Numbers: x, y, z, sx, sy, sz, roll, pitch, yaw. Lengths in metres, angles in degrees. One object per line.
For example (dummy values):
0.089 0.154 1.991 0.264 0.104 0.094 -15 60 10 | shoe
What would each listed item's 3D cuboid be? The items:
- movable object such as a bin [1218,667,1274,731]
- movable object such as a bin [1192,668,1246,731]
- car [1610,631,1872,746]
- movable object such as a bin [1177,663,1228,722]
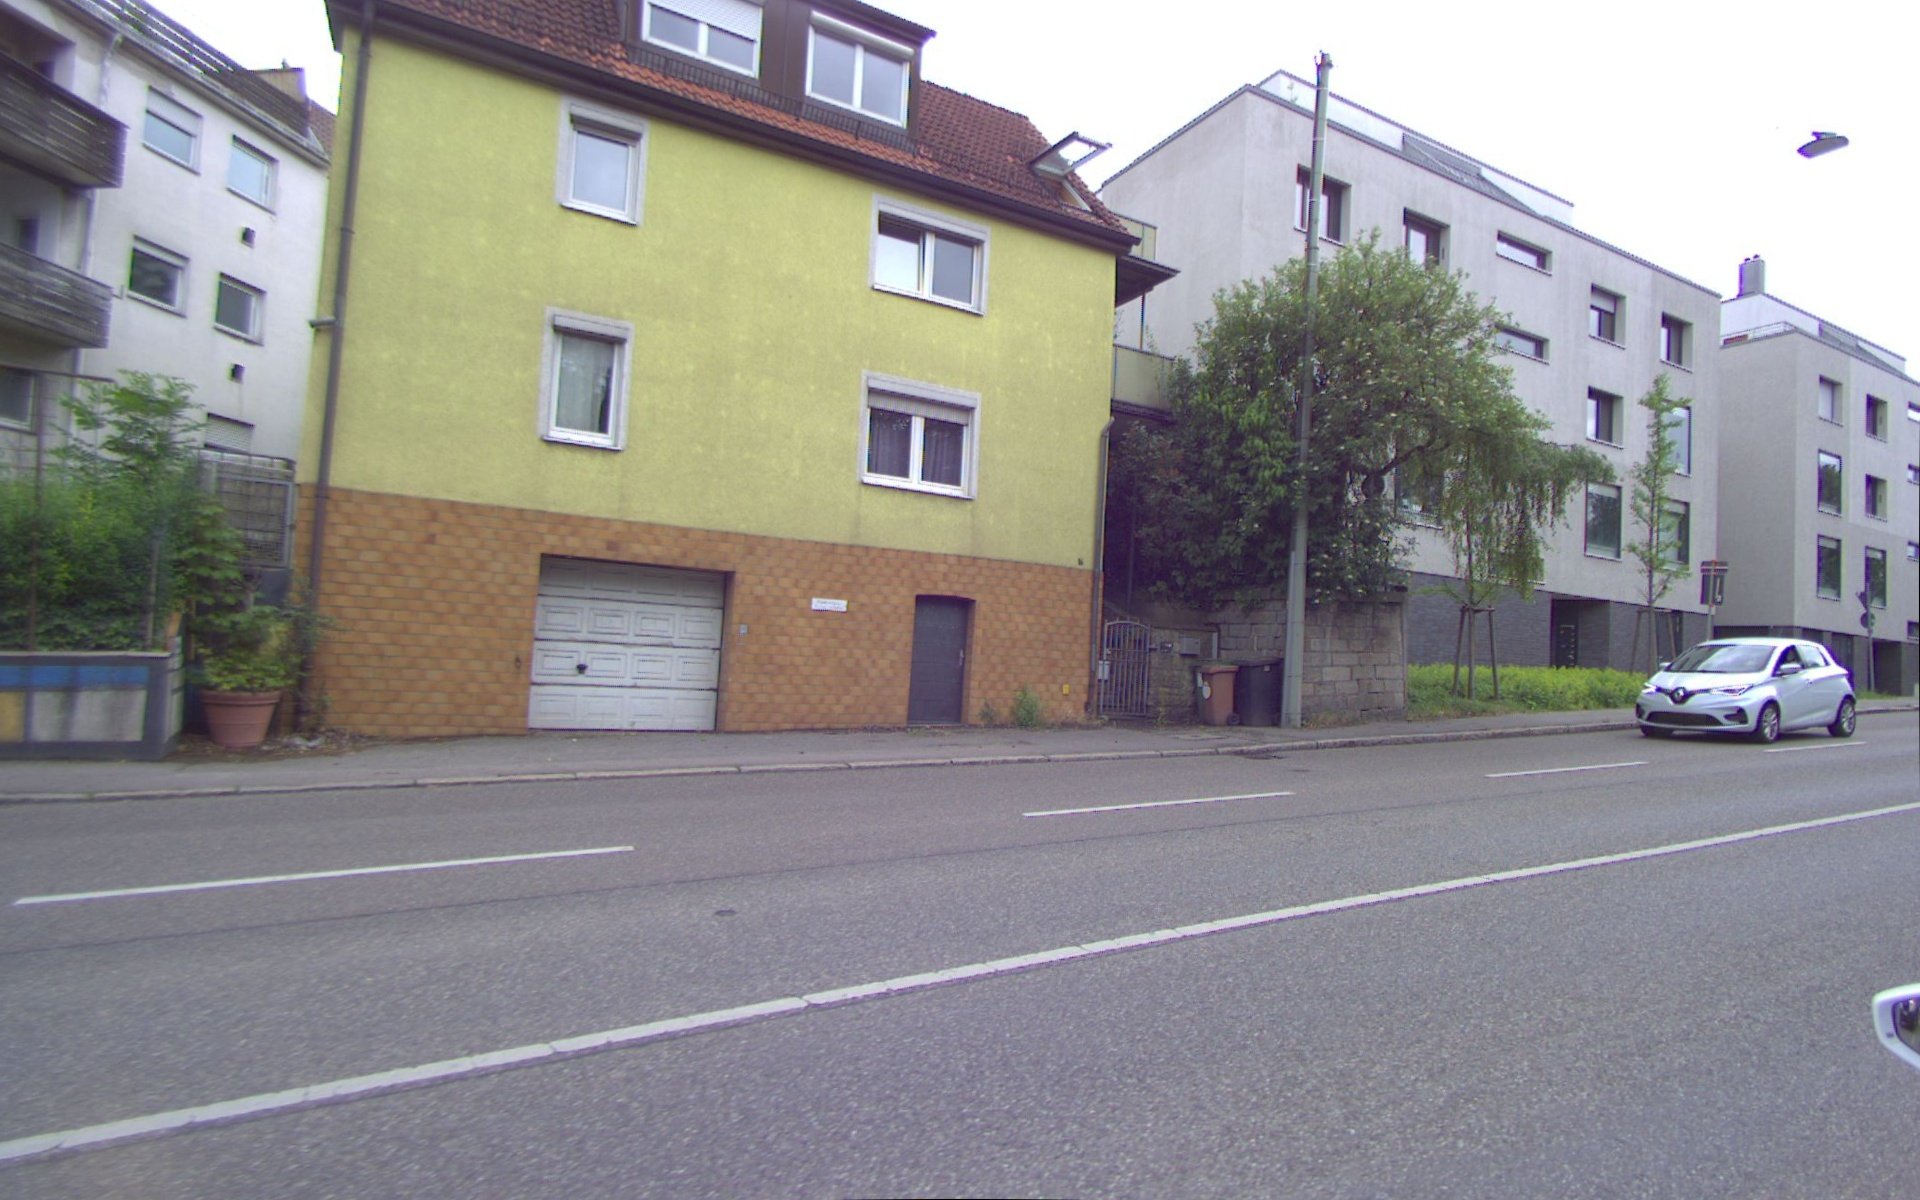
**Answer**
4.378 1.499 15.377 0.606 0.897 0.562 2 1 -45 | movable object such as a bin
4.040 1.546 15.672 0.606 0.897 0.562 2 1 -45 | movable object such as a bin
12.453 1.344 15.993 4.004 1.634 1.738 1 -3 -27 | car
3.998 1.515 16.556 0.606 0.897 0.562 2 1 -45 | movable object such as a bin
